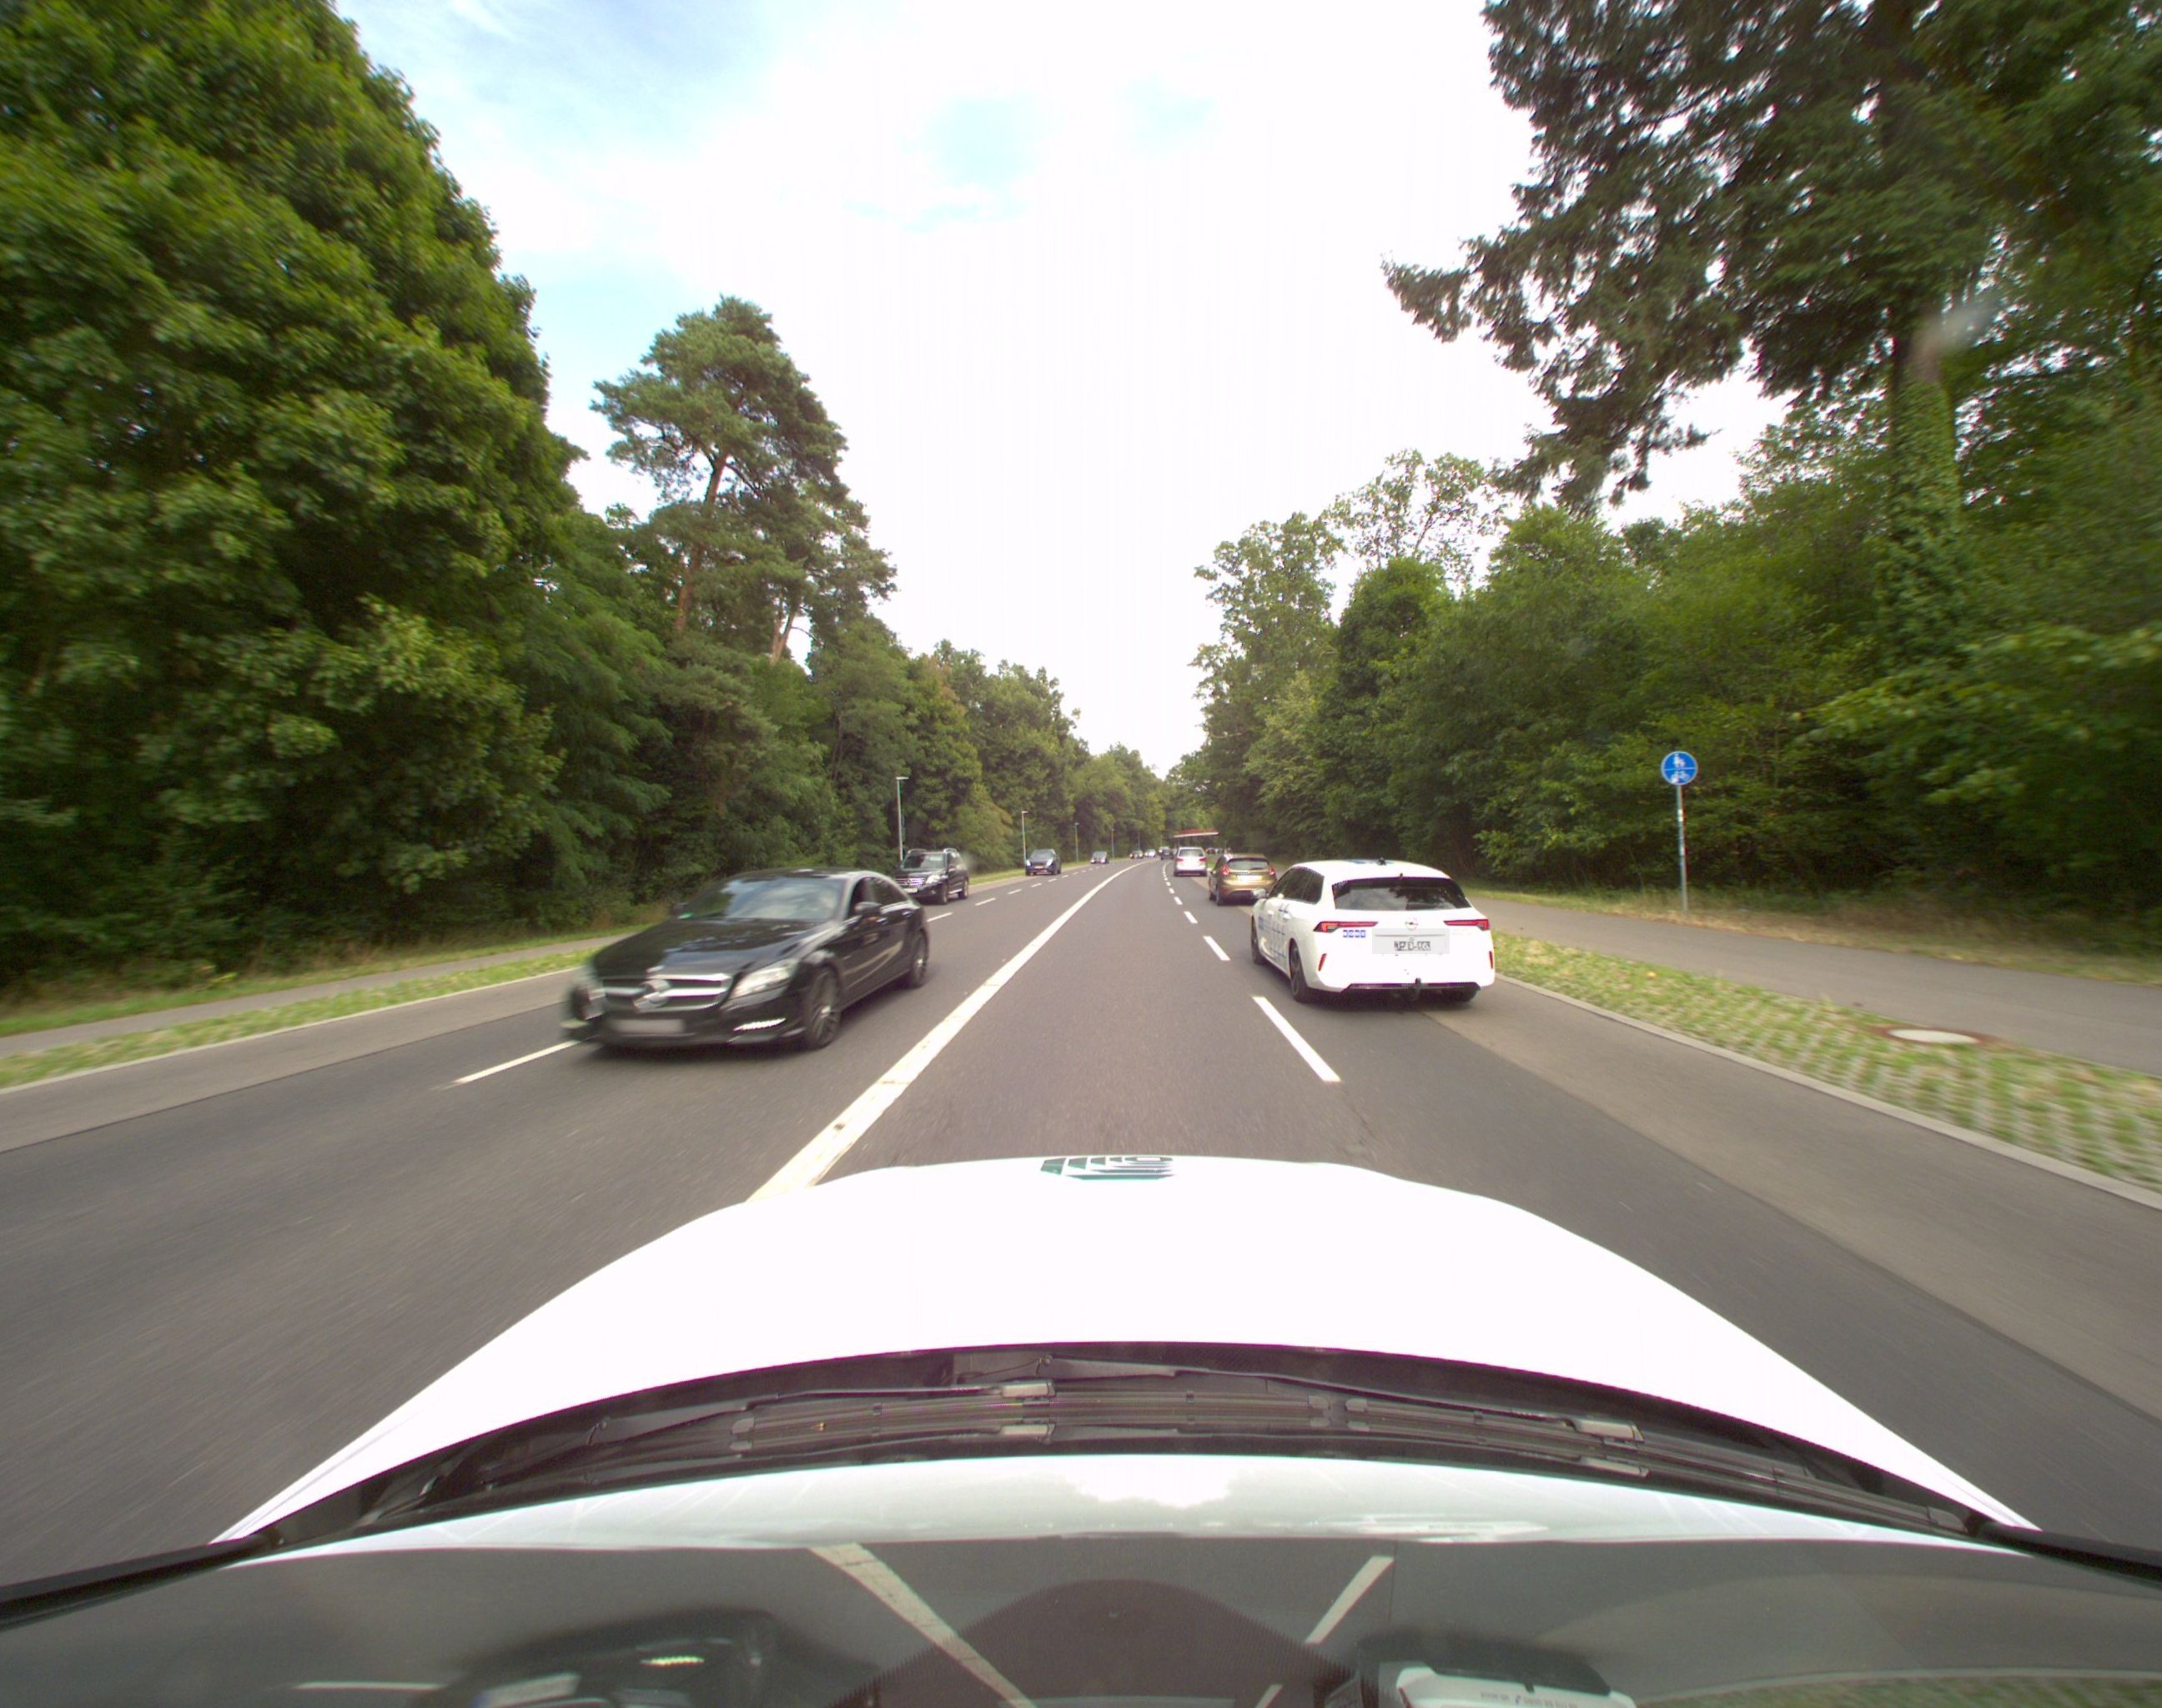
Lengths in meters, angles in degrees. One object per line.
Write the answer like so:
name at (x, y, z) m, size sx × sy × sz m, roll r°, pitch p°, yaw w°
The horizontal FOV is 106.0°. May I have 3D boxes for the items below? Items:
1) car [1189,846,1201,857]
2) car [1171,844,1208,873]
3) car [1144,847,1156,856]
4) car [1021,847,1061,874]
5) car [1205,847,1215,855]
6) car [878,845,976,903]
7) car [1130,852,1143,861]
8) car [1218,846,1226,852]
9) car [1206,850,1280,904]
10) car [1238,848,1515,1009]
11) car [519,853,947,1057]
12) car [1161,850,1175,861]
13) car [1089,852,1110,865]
car at (21.090, -0.451, 150.418) m, size 1.982 × 1.783 × 4.010 m, roll 1°, pitch -1°, yaw 9°
car at (6.226, 0.281, 47.228) m, size 1.984 × 1.607 × 4.006 m, roll 1°, pitch -1°, yaw 6°
car at (13.273, -0.439, 155.918) m, size 1.982 × 1.563 × 4.615 m, roll 1°, pitch -1°, yaw 9°
car at (-2.532, 0.410, 52.776) m, size 1.985 × 1.617 × 4.669 m, roll 1°, pitch -1°, yaw 4°
car at (31.784, -0.778, 200.407) m, size 1.979 × 1.783 × 4.014 m, roll 1°, pitch -1°, yaw 13°
car at (-4.671, 0.593, 25.360) m, size 1.915 × 1.655 × 4.474 m, roll 0°, pitch -1°, yaw 4°
car at (9.287, 0.427, 135.898) m, size 1.870 × 1.443 × 4.414 m, roll 1°, pitch -1°, yaw 9°
car at (39.962, -1.476, 231.168) m, size 1.980 × 1.706 × 4.014 m, roll -1°, pitch 0°, yaw 13°
car at (4.618, 0.623, 23.679) m, size 1.628 × 1.420 × 4.004 m, roll 1°, pitch -1°, yaw 4°
car at (3.069, 0.657, 9.532) m, size 1.828 × 1.410 × 4.495 m, roll -1°, pitch 1°, yaw 3°
car at (-2.872, 0.738, 8.147) m, size 1.985 × 1.435 × 4.726 m, roll 0°, pitch -1°, yaw 4°
car at (12.888, 0.284, 120.294) m, size 1.719 × 1.587 × 4.011 m, roll 1°, pitch -1°, yaw 10°
car at (2.123, 0.502, 92.691) m, size 1.886 × 1.484 × 4.549 m, roll 1°, pitch -1°, yaw 8°
